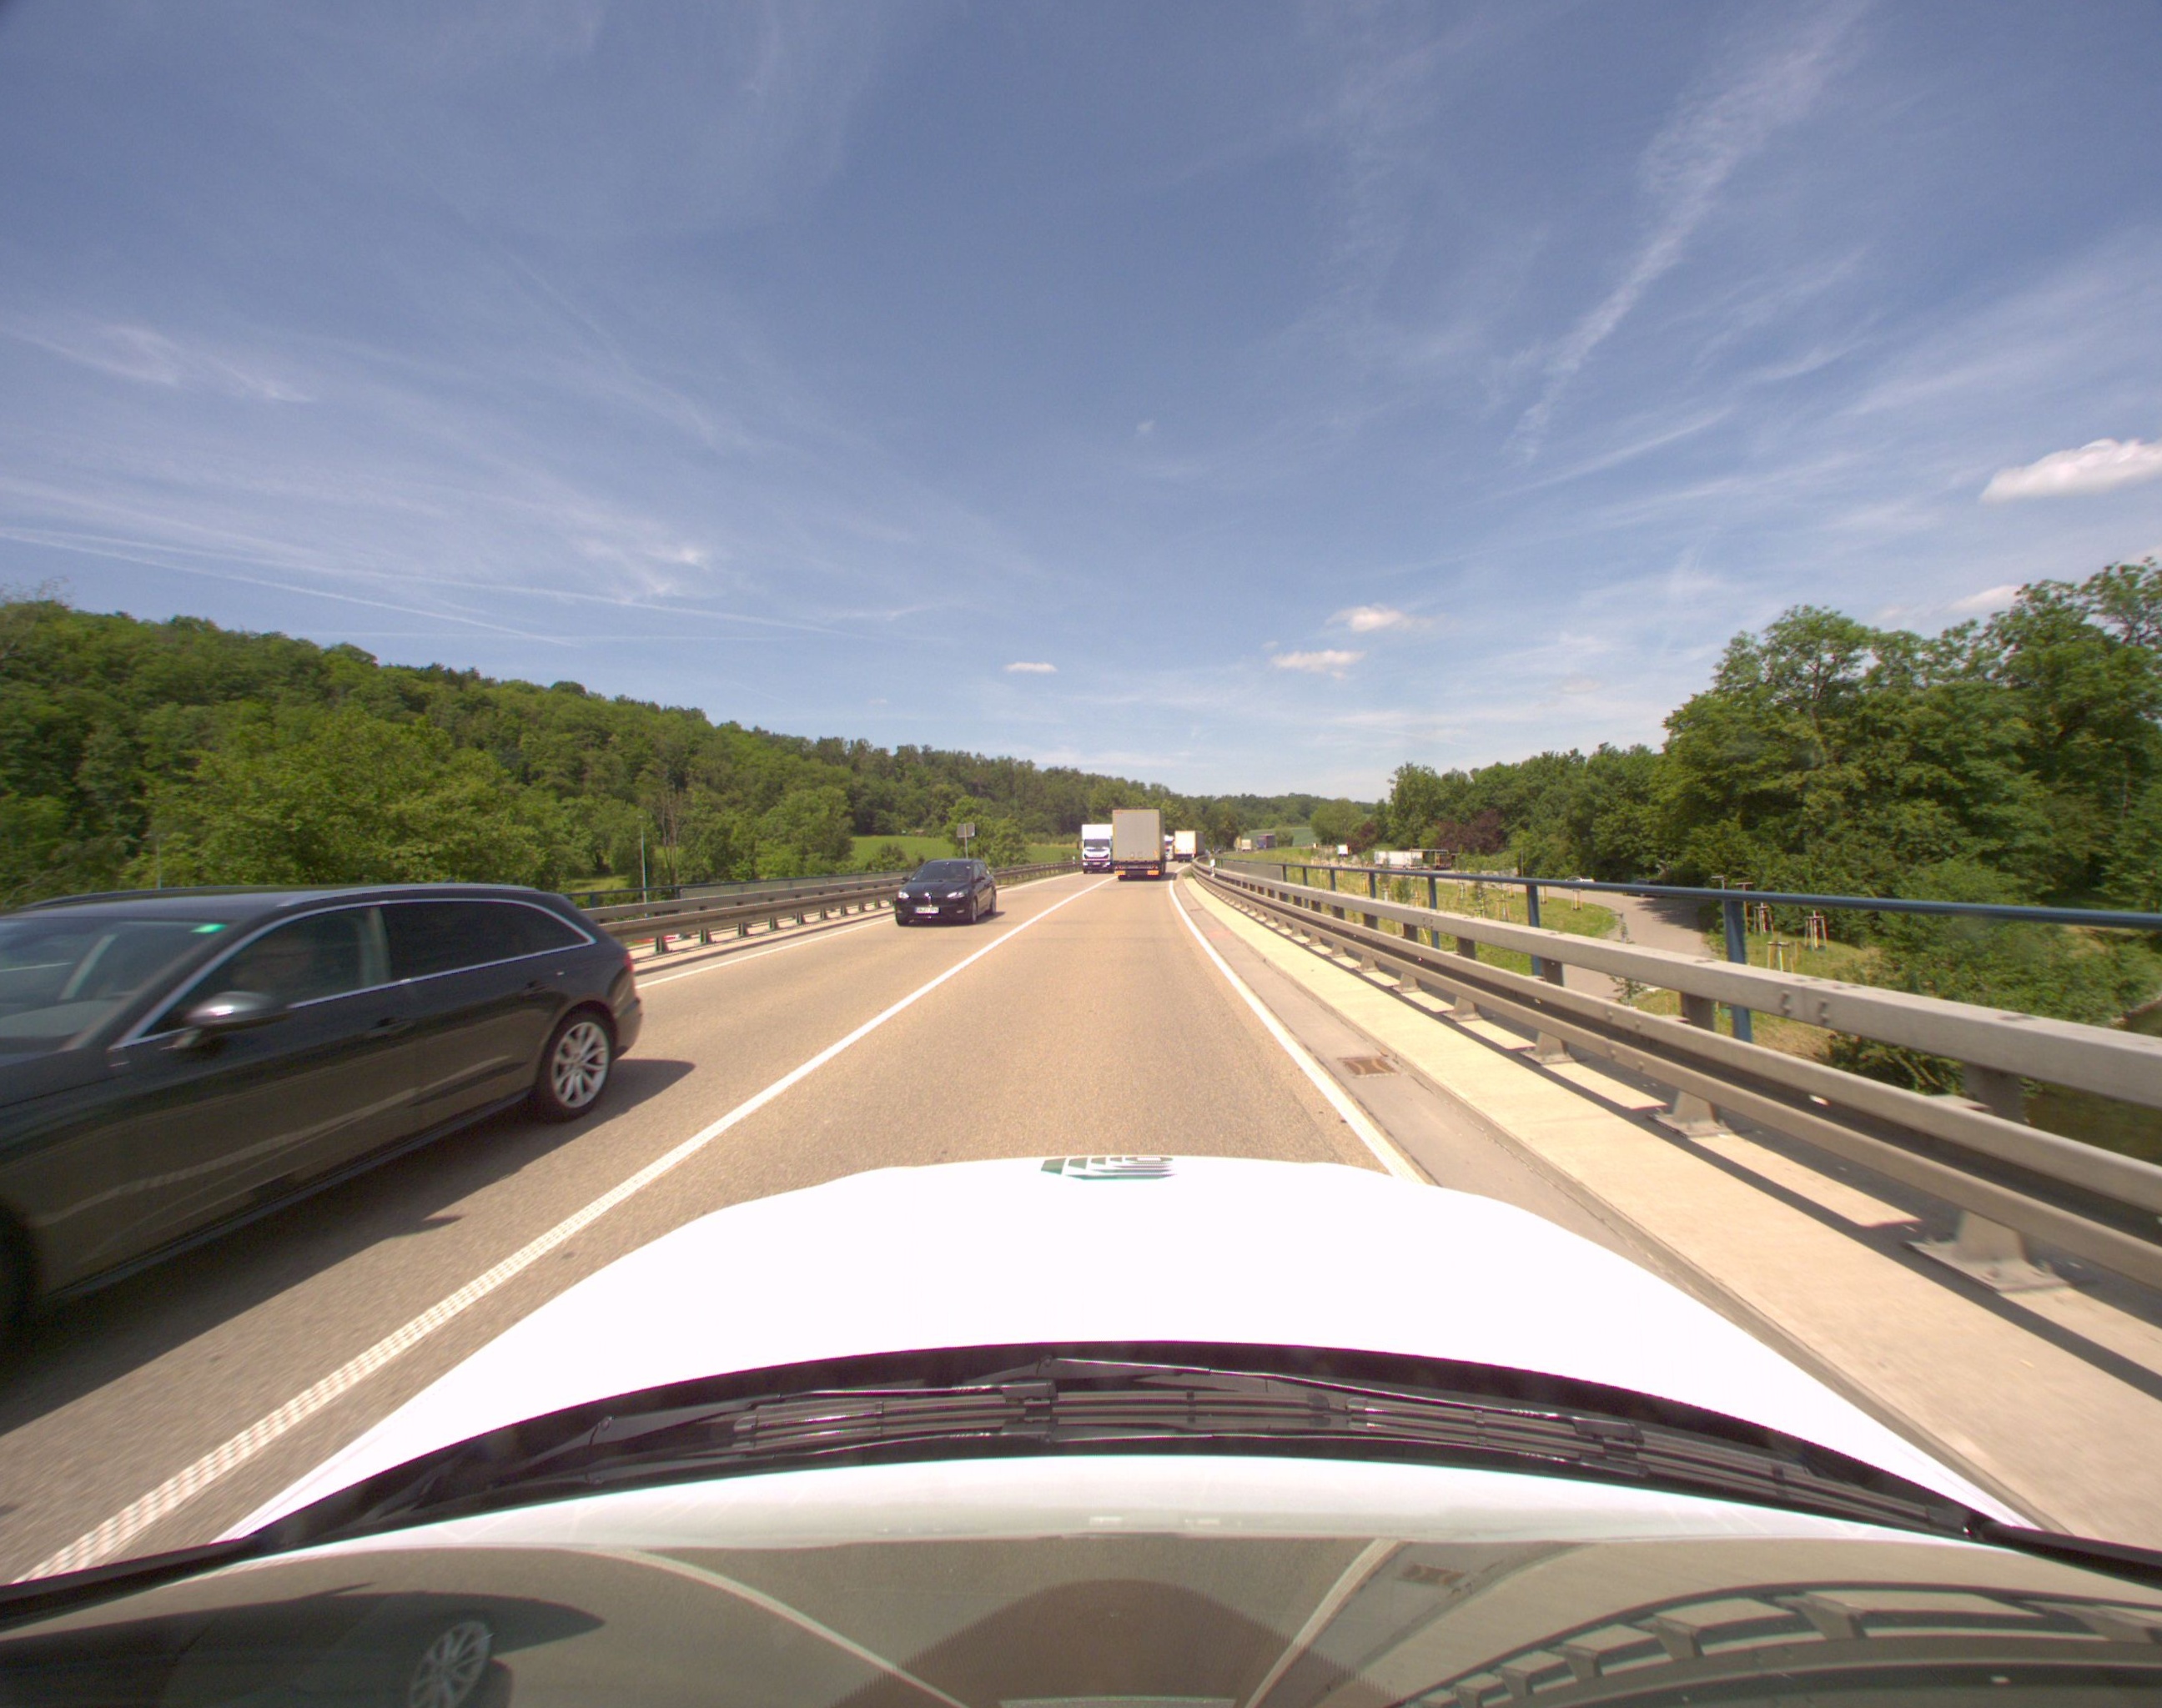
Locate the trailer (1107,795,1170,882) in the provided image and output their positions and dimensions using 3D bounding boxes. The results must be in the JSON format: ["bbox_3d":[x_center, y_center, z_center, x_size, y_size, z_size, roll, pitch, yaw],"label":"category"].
[{"bbox_3d":[3.779,-0.899,49.920,3.102,4.499,13.914,-1,1,7],"label":"trailer"}]

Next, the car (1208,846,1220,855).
[{"bbox_3d":[27.998,-0.794,170.922,1.907,1.860,5.198,-1,0,16],"label":"car"}]

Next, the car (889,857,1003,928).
[{"bbox_3d":[-3.122,0.835,19.811,1.713,1.482,4.574,-1,0,4],"label":"car"}]

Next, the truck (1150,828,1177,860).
[{"bbox_3d":[11.961,-1.379,117.565,3.041,4.263,9.897,-1,0,11],"label":"truck"}]

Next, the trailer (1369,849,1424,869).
[{"bbox_3d":[57.095,0.855,147.874,2.724,3.327,11.833,-1,1,-15],"label":"trailer"}]

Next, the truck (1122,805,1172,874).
[{"bbox_3d":[4.712,-0.989,57.011,3.101,4.494,6.826,-1,1,7],"label":"truck"}]

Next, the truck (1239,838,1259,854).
[{"bbox_3d":[38.534,-1.777,186.840,3.197,3.365,11.929,-1,0,18],"label":"truck"}]

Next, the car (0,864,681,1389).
[{"bbox_3d":[-3.863,0.804,3.627,1.714,1.435,4.620,-1,0,2],"label":"car"}]

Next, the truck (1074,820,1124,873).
[{"bbox_3d":[1.515,-0.570,63.584,2.899,3.803,9.727,-1,0,7],"label":"truck"}]

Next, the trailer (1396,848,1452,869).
[{"bbox_3d":[60.938,0.717,145.110,2.722,3.606,11.841,0,1,-13],"label":"trailer"}]

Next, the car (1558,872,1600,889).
[{"bbox_3d":[52.791,2.804,86.409,1.849,1.482,4.613,-5,0,4],"label":"car"}]

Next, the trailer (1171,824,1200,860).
[{"bbox_3d":[13.899,-1.430,107.453,3.345,4.317,13.898,-1,0,9],"label":"trailer"}]

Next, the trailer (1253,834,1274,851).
[{"bbox_3d":[46.671,-2.893,208.448,3.617,4.263,12.255,-1,0,20],"label":"trailer"}]

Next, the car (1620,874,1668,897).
[{"bbox_3d":[51.878,2.889,75.135,1.848,1.682,4.208,-5,1,6],"label":"car"}]
